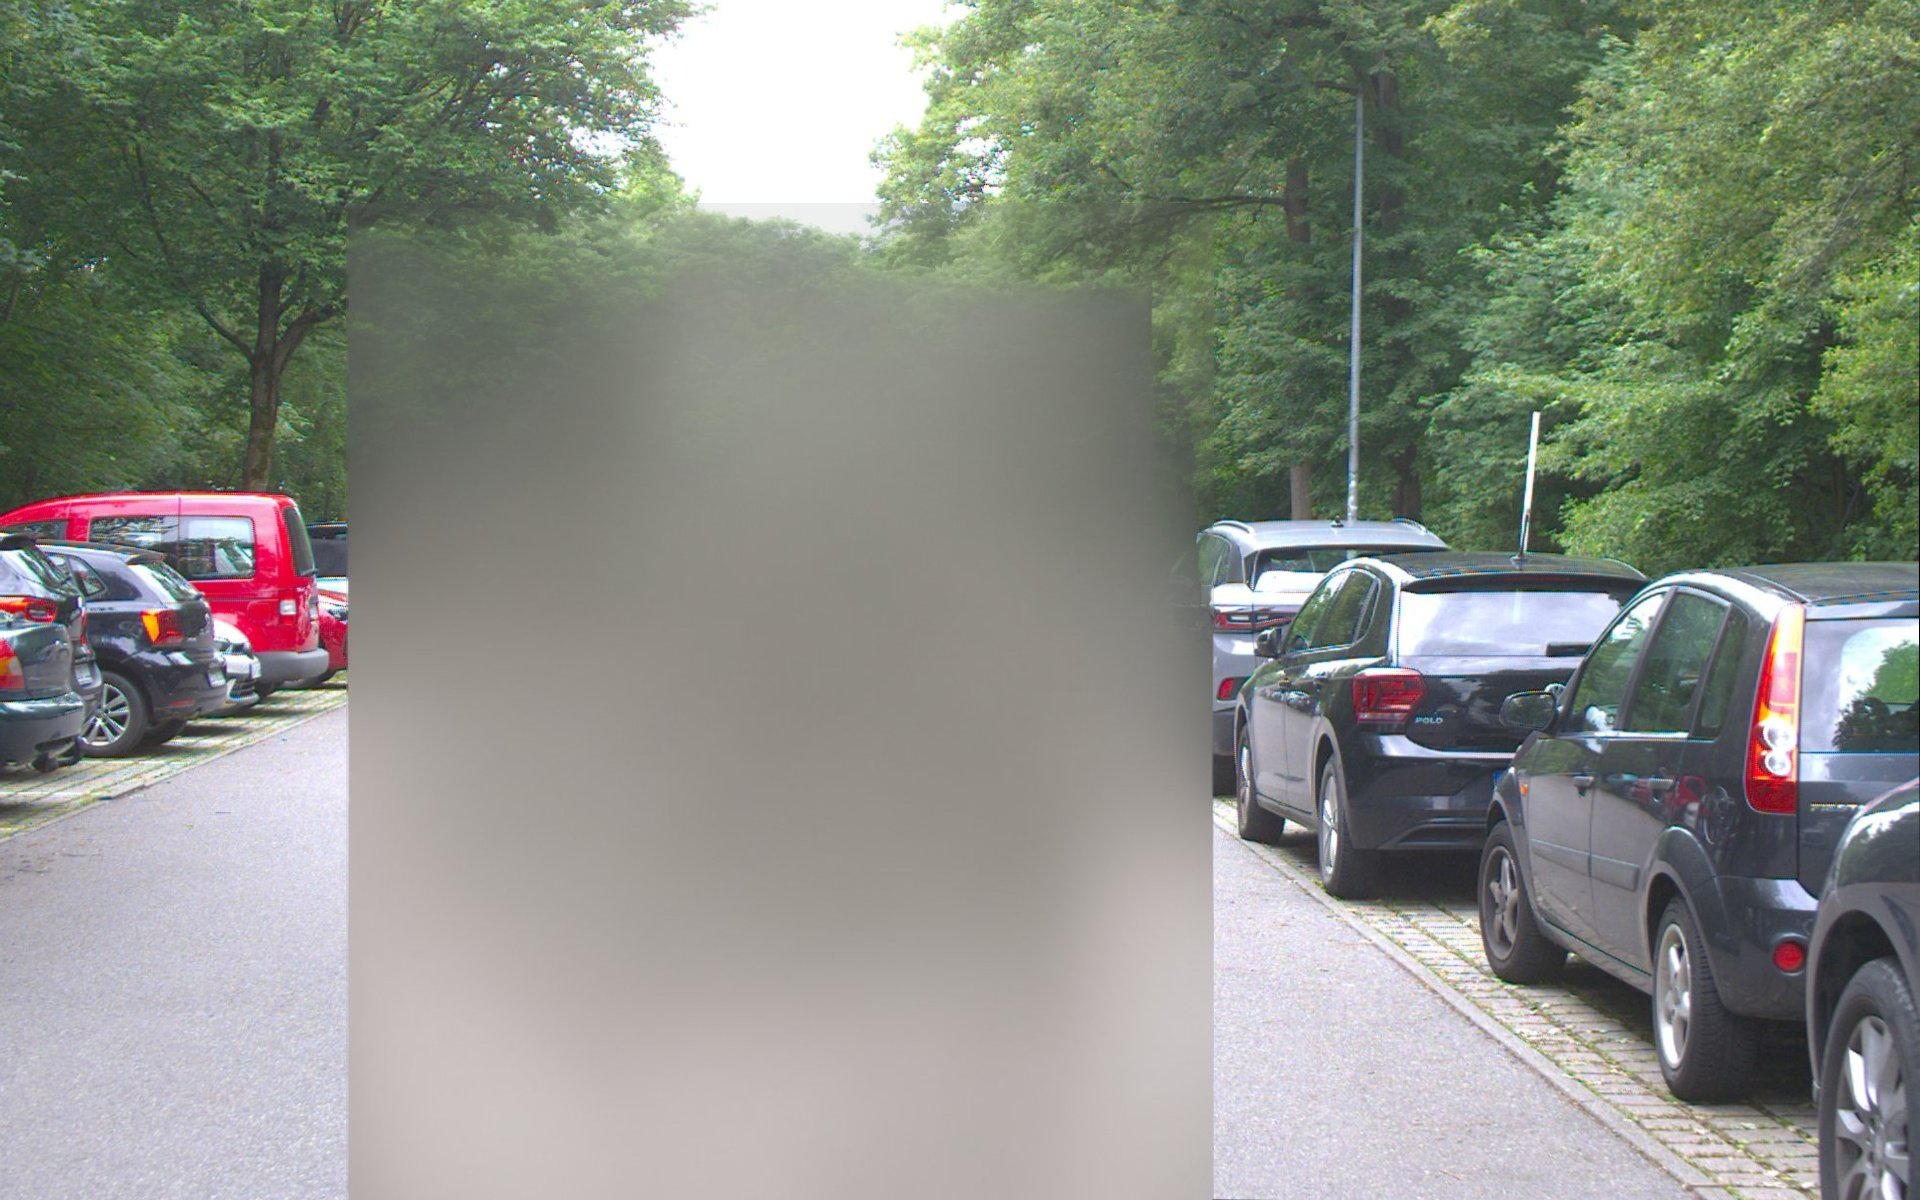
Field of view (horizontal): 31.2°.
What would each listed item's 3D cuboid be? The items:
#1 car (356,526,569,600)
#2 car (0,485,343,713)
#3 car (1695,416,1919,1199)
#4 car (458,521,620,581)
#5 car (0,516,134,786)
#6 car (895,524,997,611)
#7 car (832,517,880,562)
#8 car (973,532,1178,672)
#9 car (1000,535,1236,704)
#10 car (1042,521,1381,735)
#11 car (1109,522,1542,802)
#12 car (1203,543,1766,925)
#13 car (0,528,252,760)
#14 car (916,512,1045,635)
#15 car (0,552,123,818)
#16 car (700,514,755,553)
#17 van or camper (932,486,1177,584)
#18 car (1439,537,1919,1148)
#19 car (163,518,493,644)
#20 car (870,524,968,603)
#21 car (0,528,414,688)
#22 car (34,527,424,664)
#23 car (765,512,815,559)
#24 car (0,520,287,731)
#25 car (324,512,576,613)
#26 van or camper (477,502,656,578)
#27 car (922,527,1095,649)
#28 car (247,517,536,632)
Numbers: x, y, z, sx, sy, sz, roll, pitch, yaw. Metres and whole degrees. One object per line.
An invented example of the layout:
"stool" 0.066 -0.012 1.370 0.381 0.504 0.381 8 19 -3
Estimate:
"car" -9.599 -0.713 66.267 3.986 1.377 2.001 0 1 -9
"car" -7.258 -0.033 28.604 3.986 1.810 2.115 0 1 -5
"car" 2.654 0.587 5.063 1.889 1.741 4.949 1 1 -2
"car" -9.908 -1.152 80.825 3.576 1.356 1.829 0 1 -14
"car" -7.655 0.263 21.140 4.731 1.590 1.960 0 1 -3
"car" -0.280 -0.621 63.059 1.710 1.504 4.001 1 1 -2
"car" -3.800 -2.202 125.143 1.628 1.410 3.412 2 4 -3
"car" 1.260 -0.020 39.174 1.937 1.470 3.993 1 1 -4
"car" 1.413 0.140 32.093 1.666 1.439 3.815 1 1 -5
"car" 1.887 0.158 27.162 1.978 1.532 4.167 1 1 -5
"car" 2.147 0.298 21.530 1.978 1.532 4.622 1 1 -3
"car" 2.225 0.501 15.679 1.636 1.472 4.152 1 1 -4
"car" -6.993 0.270 23.621 3.986 1.525 2.000 0 1 -6
"car" 0.269 -0.429 50.830 1.710 1.722 4.001 1 1 -2
"car" -7.074 0.405 18.455 4.731 1.338 1.987 0 1 -3
"car" -8.275 -2.394 122.613 1.739 1.158 3.411 2 4 -1
"van or camper" 3.012 -2.095 110.252 7.321 2.879 2.651 1 4 -17
"car" 2.651 0.577 10.647 1.598 1.499 4.090 1 1 -2
"car" -7.927 -0.252 43.376 3.832 1.531 1.871 0 1 -1
"car" -0.863 -0.768 70.264 1.921 1.515 3.887 1 1 -1
"car" -7.452 0.054 33.452 3.986 1.469 2.115 0 1 -2
"car" -8.138 -0.069 38.529 3.986 1.469 1.847 0 1 -1
"car" -5.902 -2.248 119.076 1.690 1.410 3.154 2 4 -3
"car" -7.260 0.158 26.059 3.986 1.525 2.000 0 1 -3
"car" -8.586 -0.641 58.113 3.986 1.634 2.009 0 1 -1
"van or camper" -10.586 -1.625 92.382 4.472 1.861 1.920 1 4 -17
"car" 0.598 -0.186 45.155 1.721 1.489 3.775 1 1 -7
"car" -8.335 -0.382 50.641 3.986 1.634 1.735 0 1 -1
